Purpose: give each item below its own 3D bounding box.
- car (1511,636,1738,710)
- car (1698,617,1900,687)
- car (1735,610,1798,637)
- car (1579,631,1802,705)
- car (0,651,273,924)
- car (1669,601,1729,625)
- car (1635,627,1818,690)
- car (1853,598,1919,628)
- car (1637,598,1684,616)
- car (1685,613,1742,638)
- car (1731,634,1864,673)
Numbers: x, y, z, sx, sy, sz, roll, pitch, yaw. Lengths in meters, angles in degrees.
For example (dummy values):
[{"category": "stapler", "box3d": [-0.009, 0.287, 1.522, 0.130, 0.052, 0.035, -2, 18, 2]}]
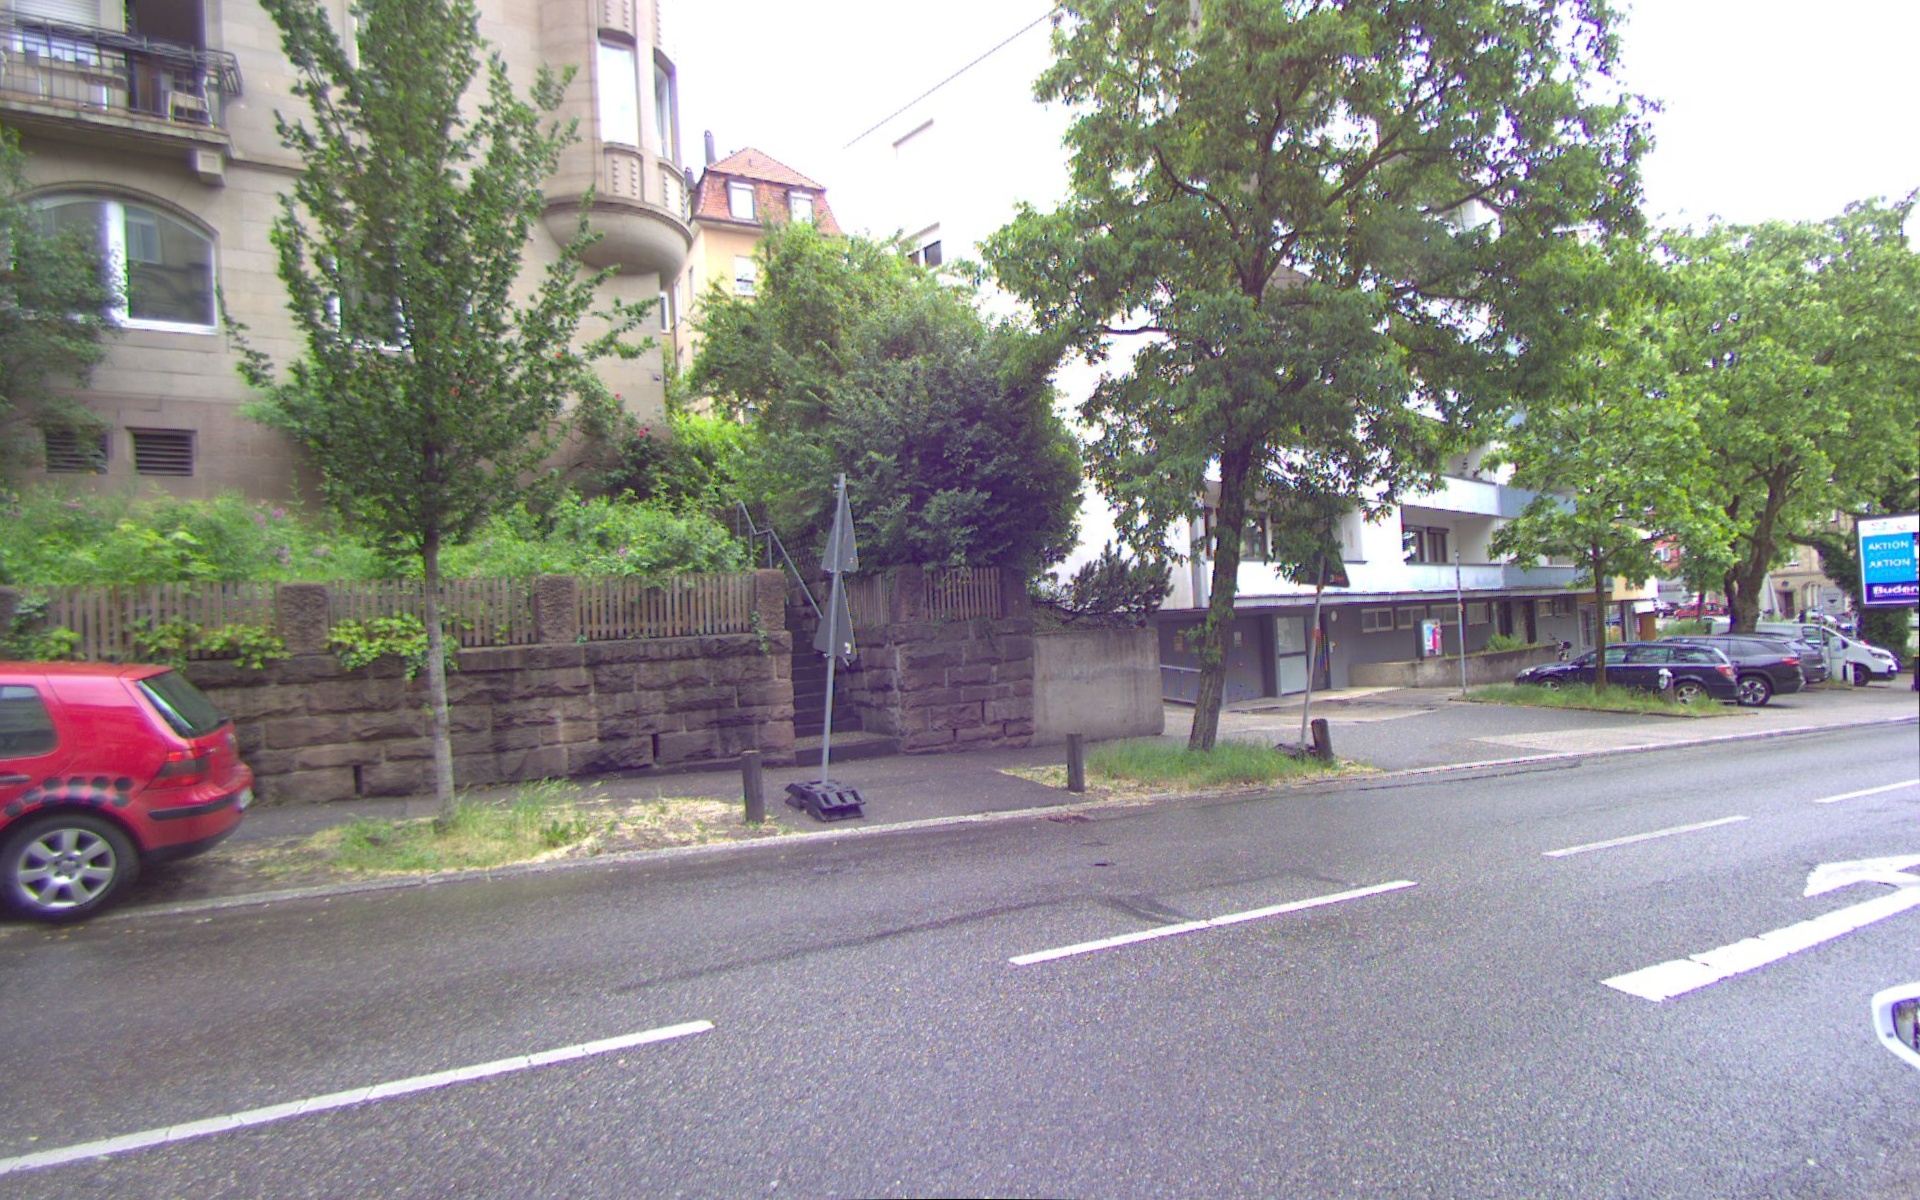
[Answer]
[{"category": "car", "box3d": [15.659, 1.700, 23.786, 4.303, 1.594, 1.935, -3, -4, 38]}, {"category": "car", "box3d": [27.715, 1.697, 33.394, 5.000, 2.132, 1.983, -2, -3, 40]}, {"category": "car", "box3d": [69.450, 1.995, 86.542, 1.961, 2.130, 4.291, -1, 1, -1]}, {"category": "car", "box3d": [18.105, 1.692, 25.069, 4.312, 1.694, 1.848, -3, -4, 38]}, {"category": "car", "box3d": [-6.514, 1.066, 5.824, 4.015, 1.470, 1.606, 1, -2, -30]}, {"category": "car", "box3d": [65.686, 1.178, 89.370, 1.965, 2.040, 3.992, 0, -3, -13]}, {"category": "car", "box3d": [23.317, 1.743, 30.662, 4.305, 1.807, 1.931, -2, -3, 40]}, {"category": "car", "box3d": [69.399, 0.926, 74.829, 1.961, 2.130, 4.291, -1, 1, -1]}, {"category": "car", "box3d": [68.753, 0.677, 98.622, 1.694, 1.711, 3.999, 2, 0, -2]}, {"category": "car", "box3d": [68.864, 2.304, 91.838, 1.961, 2.130, 4.291, -1, 1, -1]}, {"category": "car", "box3d": [32.690, 2.057, 39.322, 3.925, 1.469, 1.761, -2, -3, 40]}]
